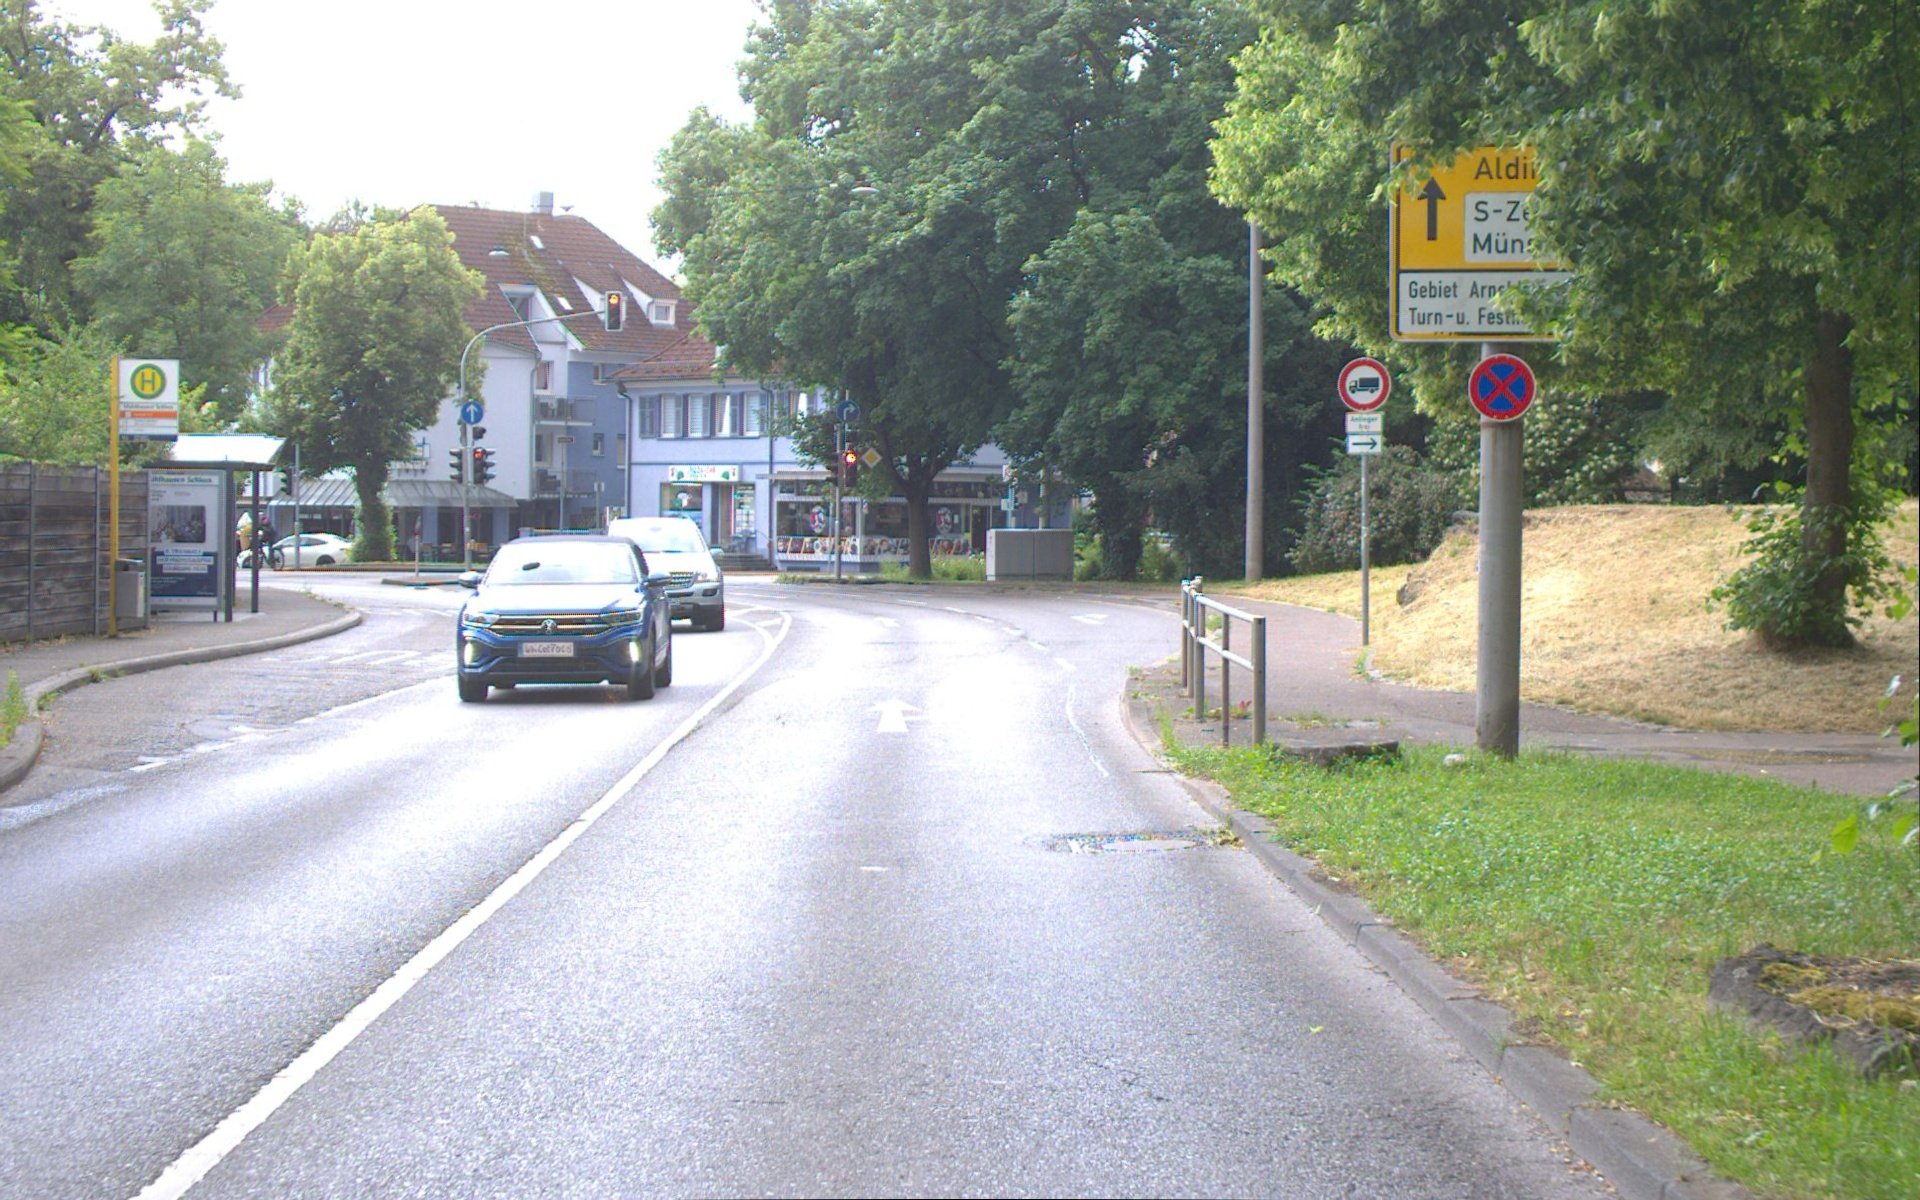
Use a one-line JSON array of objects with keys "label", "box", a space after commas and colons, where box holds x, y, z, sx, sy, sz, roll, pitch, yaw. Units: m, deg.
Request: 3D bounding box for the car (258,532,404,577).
[{"label": "car", "box": [-21.822, -1.575, 119.333, 4.580, 1.512, 1.999, 0, 1, 14]}]

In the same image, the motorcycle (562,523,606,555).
[{"label": "motorcycle", "box": [-13.975, -2.267, 127.780, 1.496, 1.103, 0.560, -1, 6, 13]}]

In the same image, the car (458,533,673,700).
[{"label": "car", "box": [-3.696, 0.108, 32.799, 1.716, 1.463, 4.100, 0, 1, -2]}]

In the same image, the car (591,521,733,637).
[{"label": "car", "box": [-4.629, -0.362, 53.914, 1.935, 1.718, 4.692, -1, 1, -2]}]
